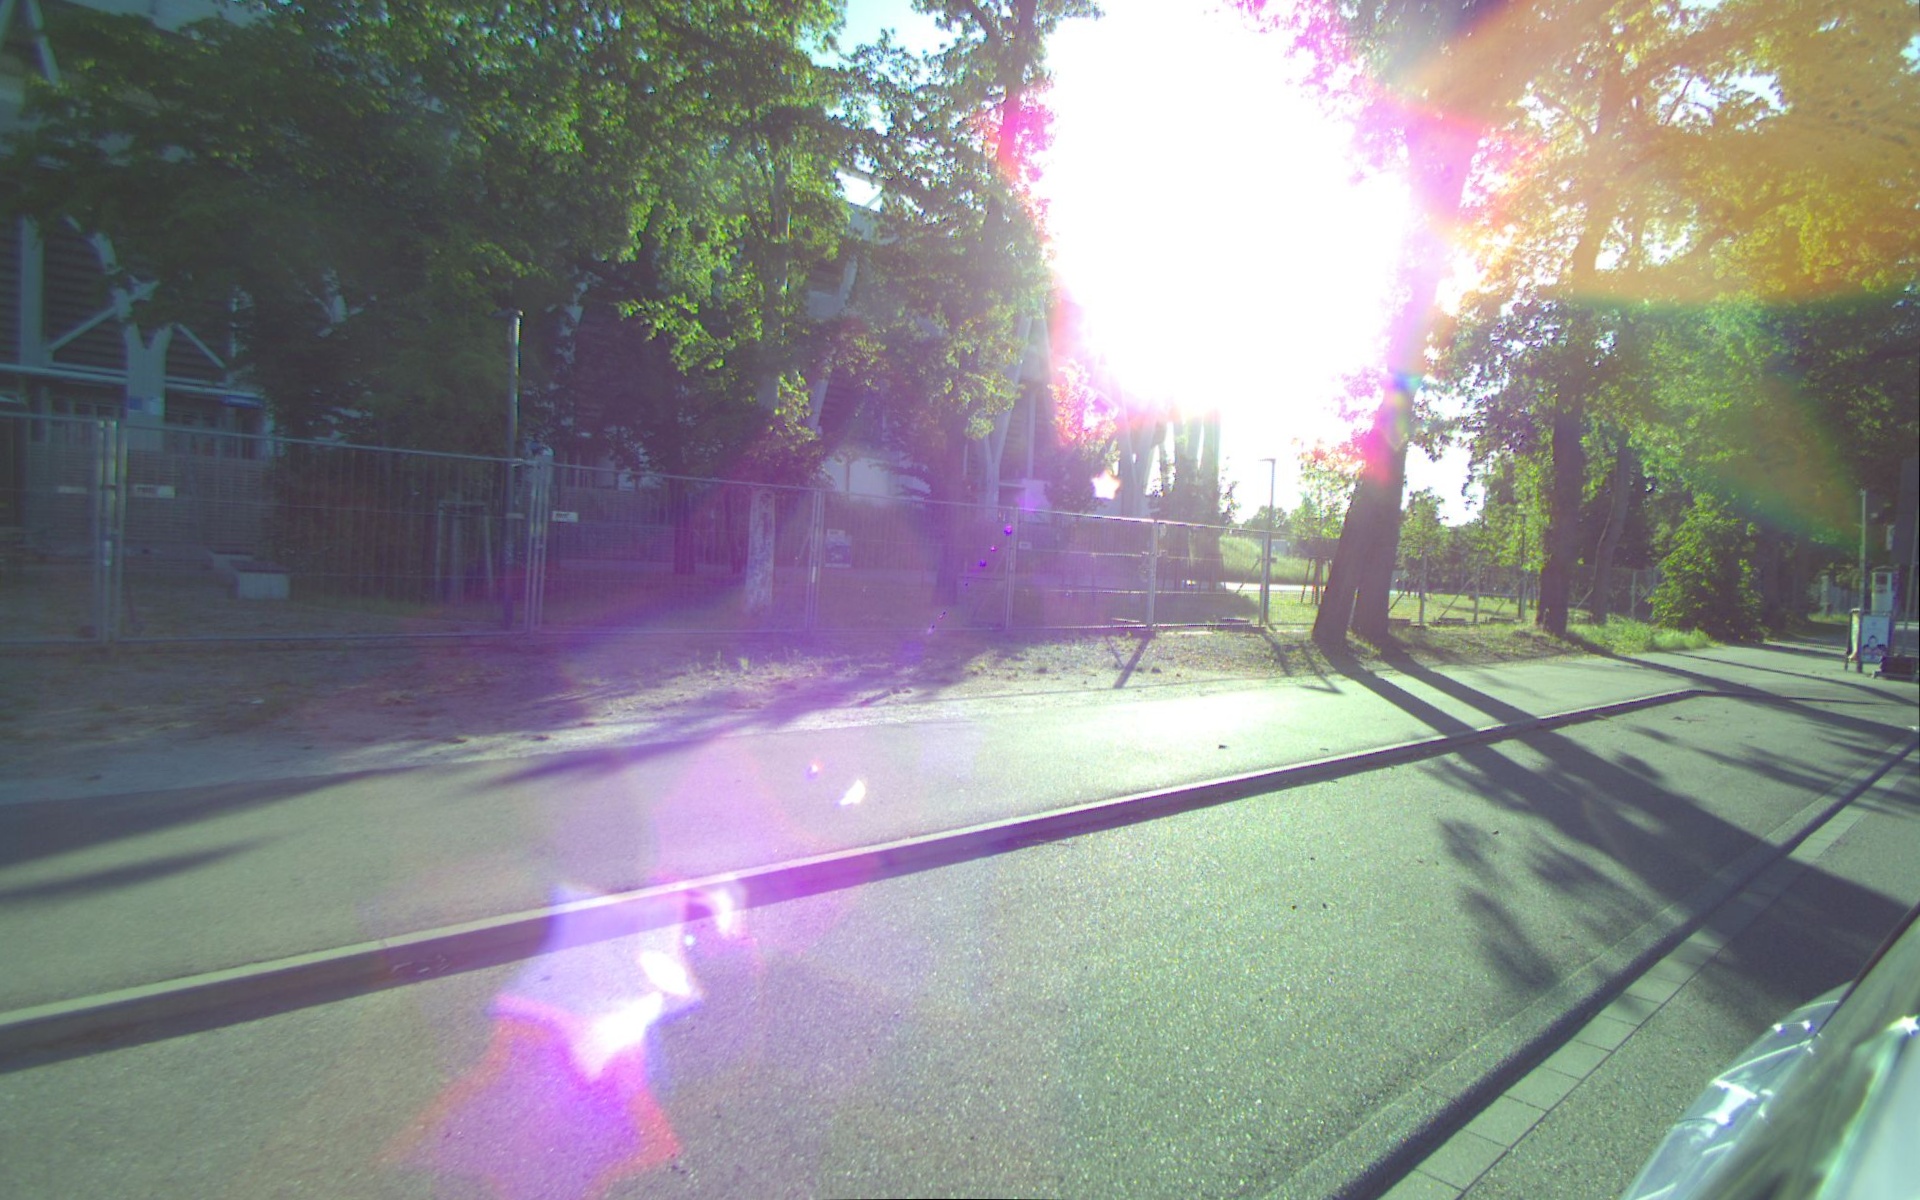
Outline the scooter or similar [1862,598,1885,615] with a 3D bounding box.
[{"bbox_3d":[72.177,0.528,79.973,1.281,1.252,0.334,3,1,12],"label":"scooter or similar"}]
